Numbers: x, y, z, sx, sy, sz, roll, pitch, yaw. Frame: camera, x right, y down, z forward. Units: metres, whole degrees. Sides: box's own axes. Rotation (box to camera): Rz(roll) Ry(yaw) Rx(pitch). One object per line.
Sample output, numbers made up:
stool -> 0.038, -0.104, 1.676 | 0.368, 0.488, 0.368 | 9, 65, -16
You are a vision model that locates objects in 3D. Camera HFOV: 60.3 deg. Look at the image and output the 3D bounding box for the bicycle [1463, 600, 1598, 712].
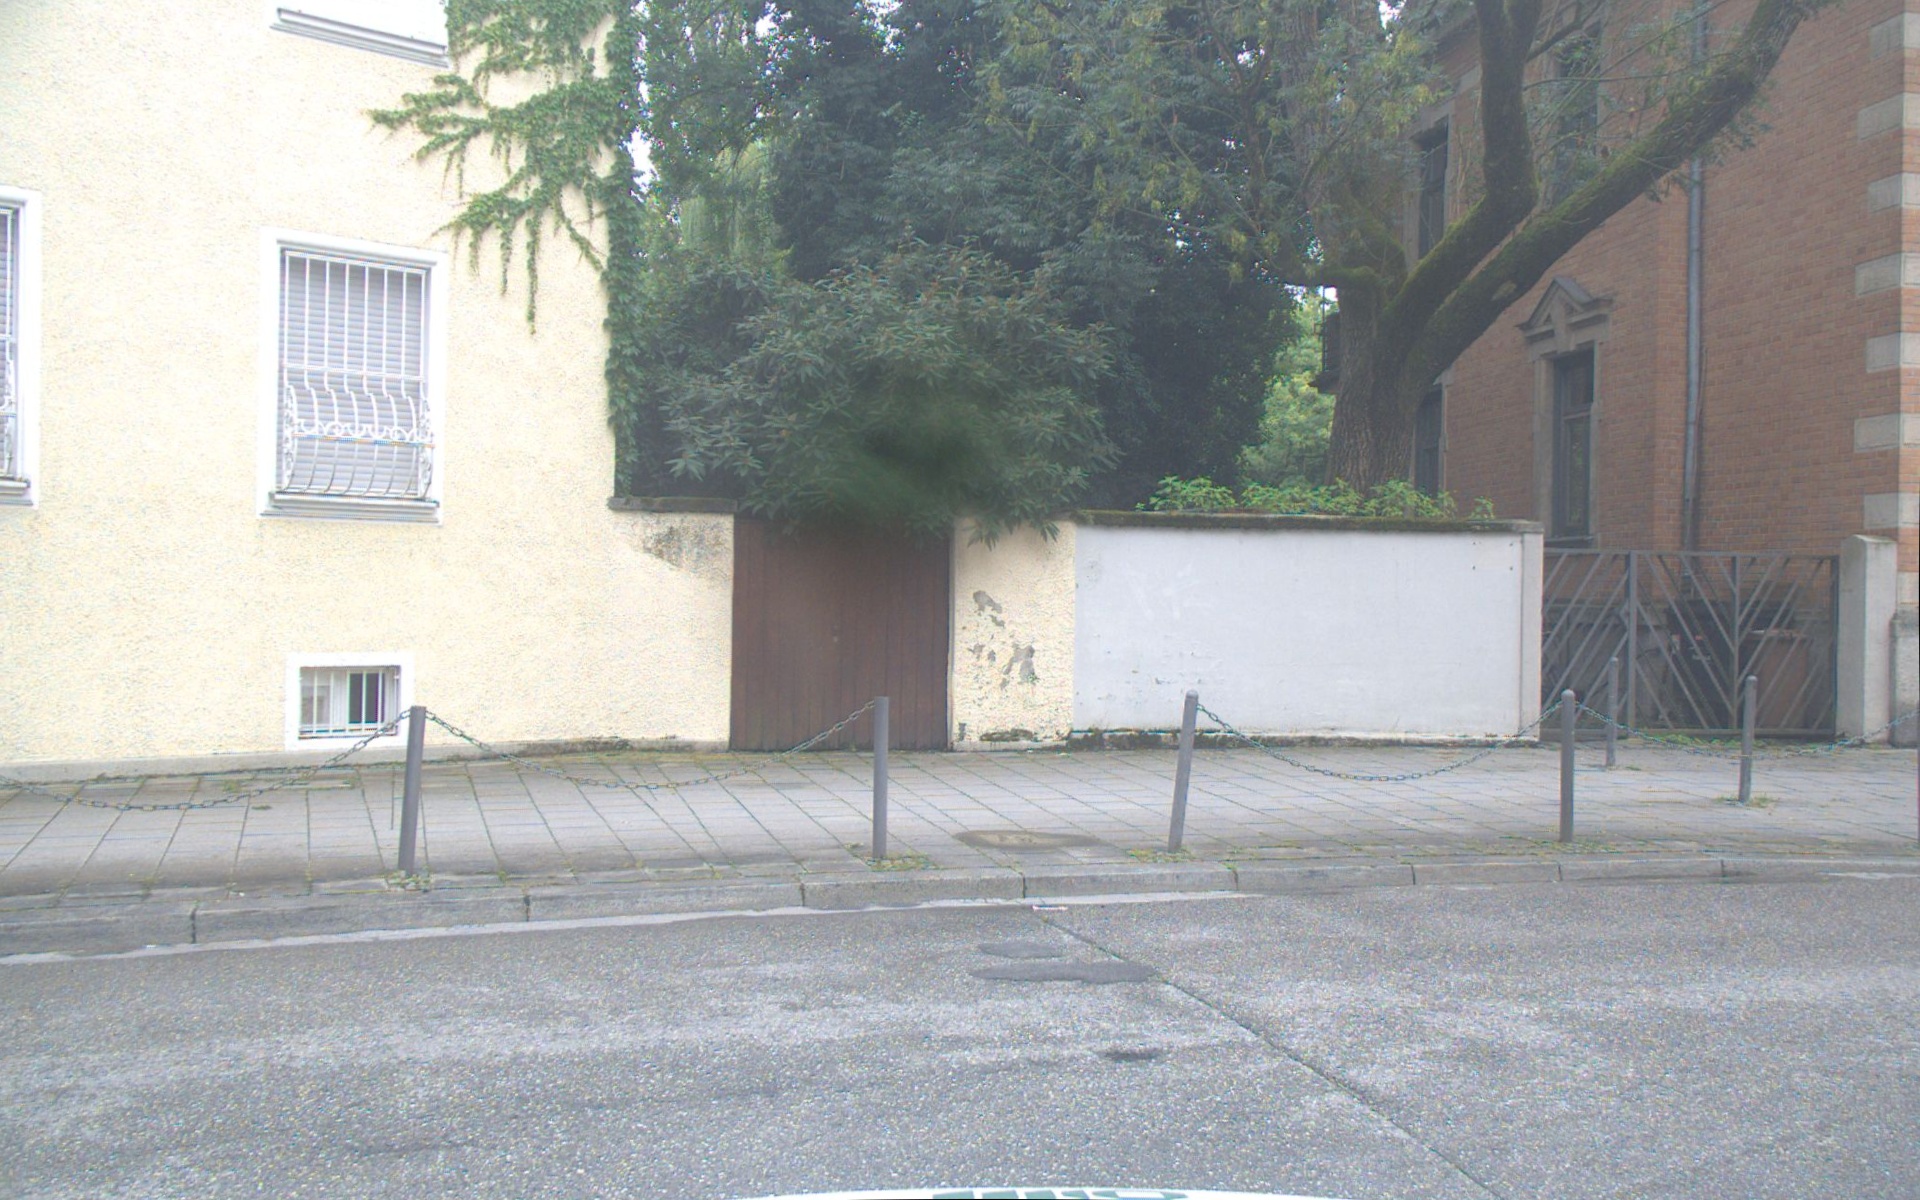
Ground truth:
bicycle -> 6.659, 0.629, 19.421 | 0.524, 1.240, 2.077 | 1, -1, -11
